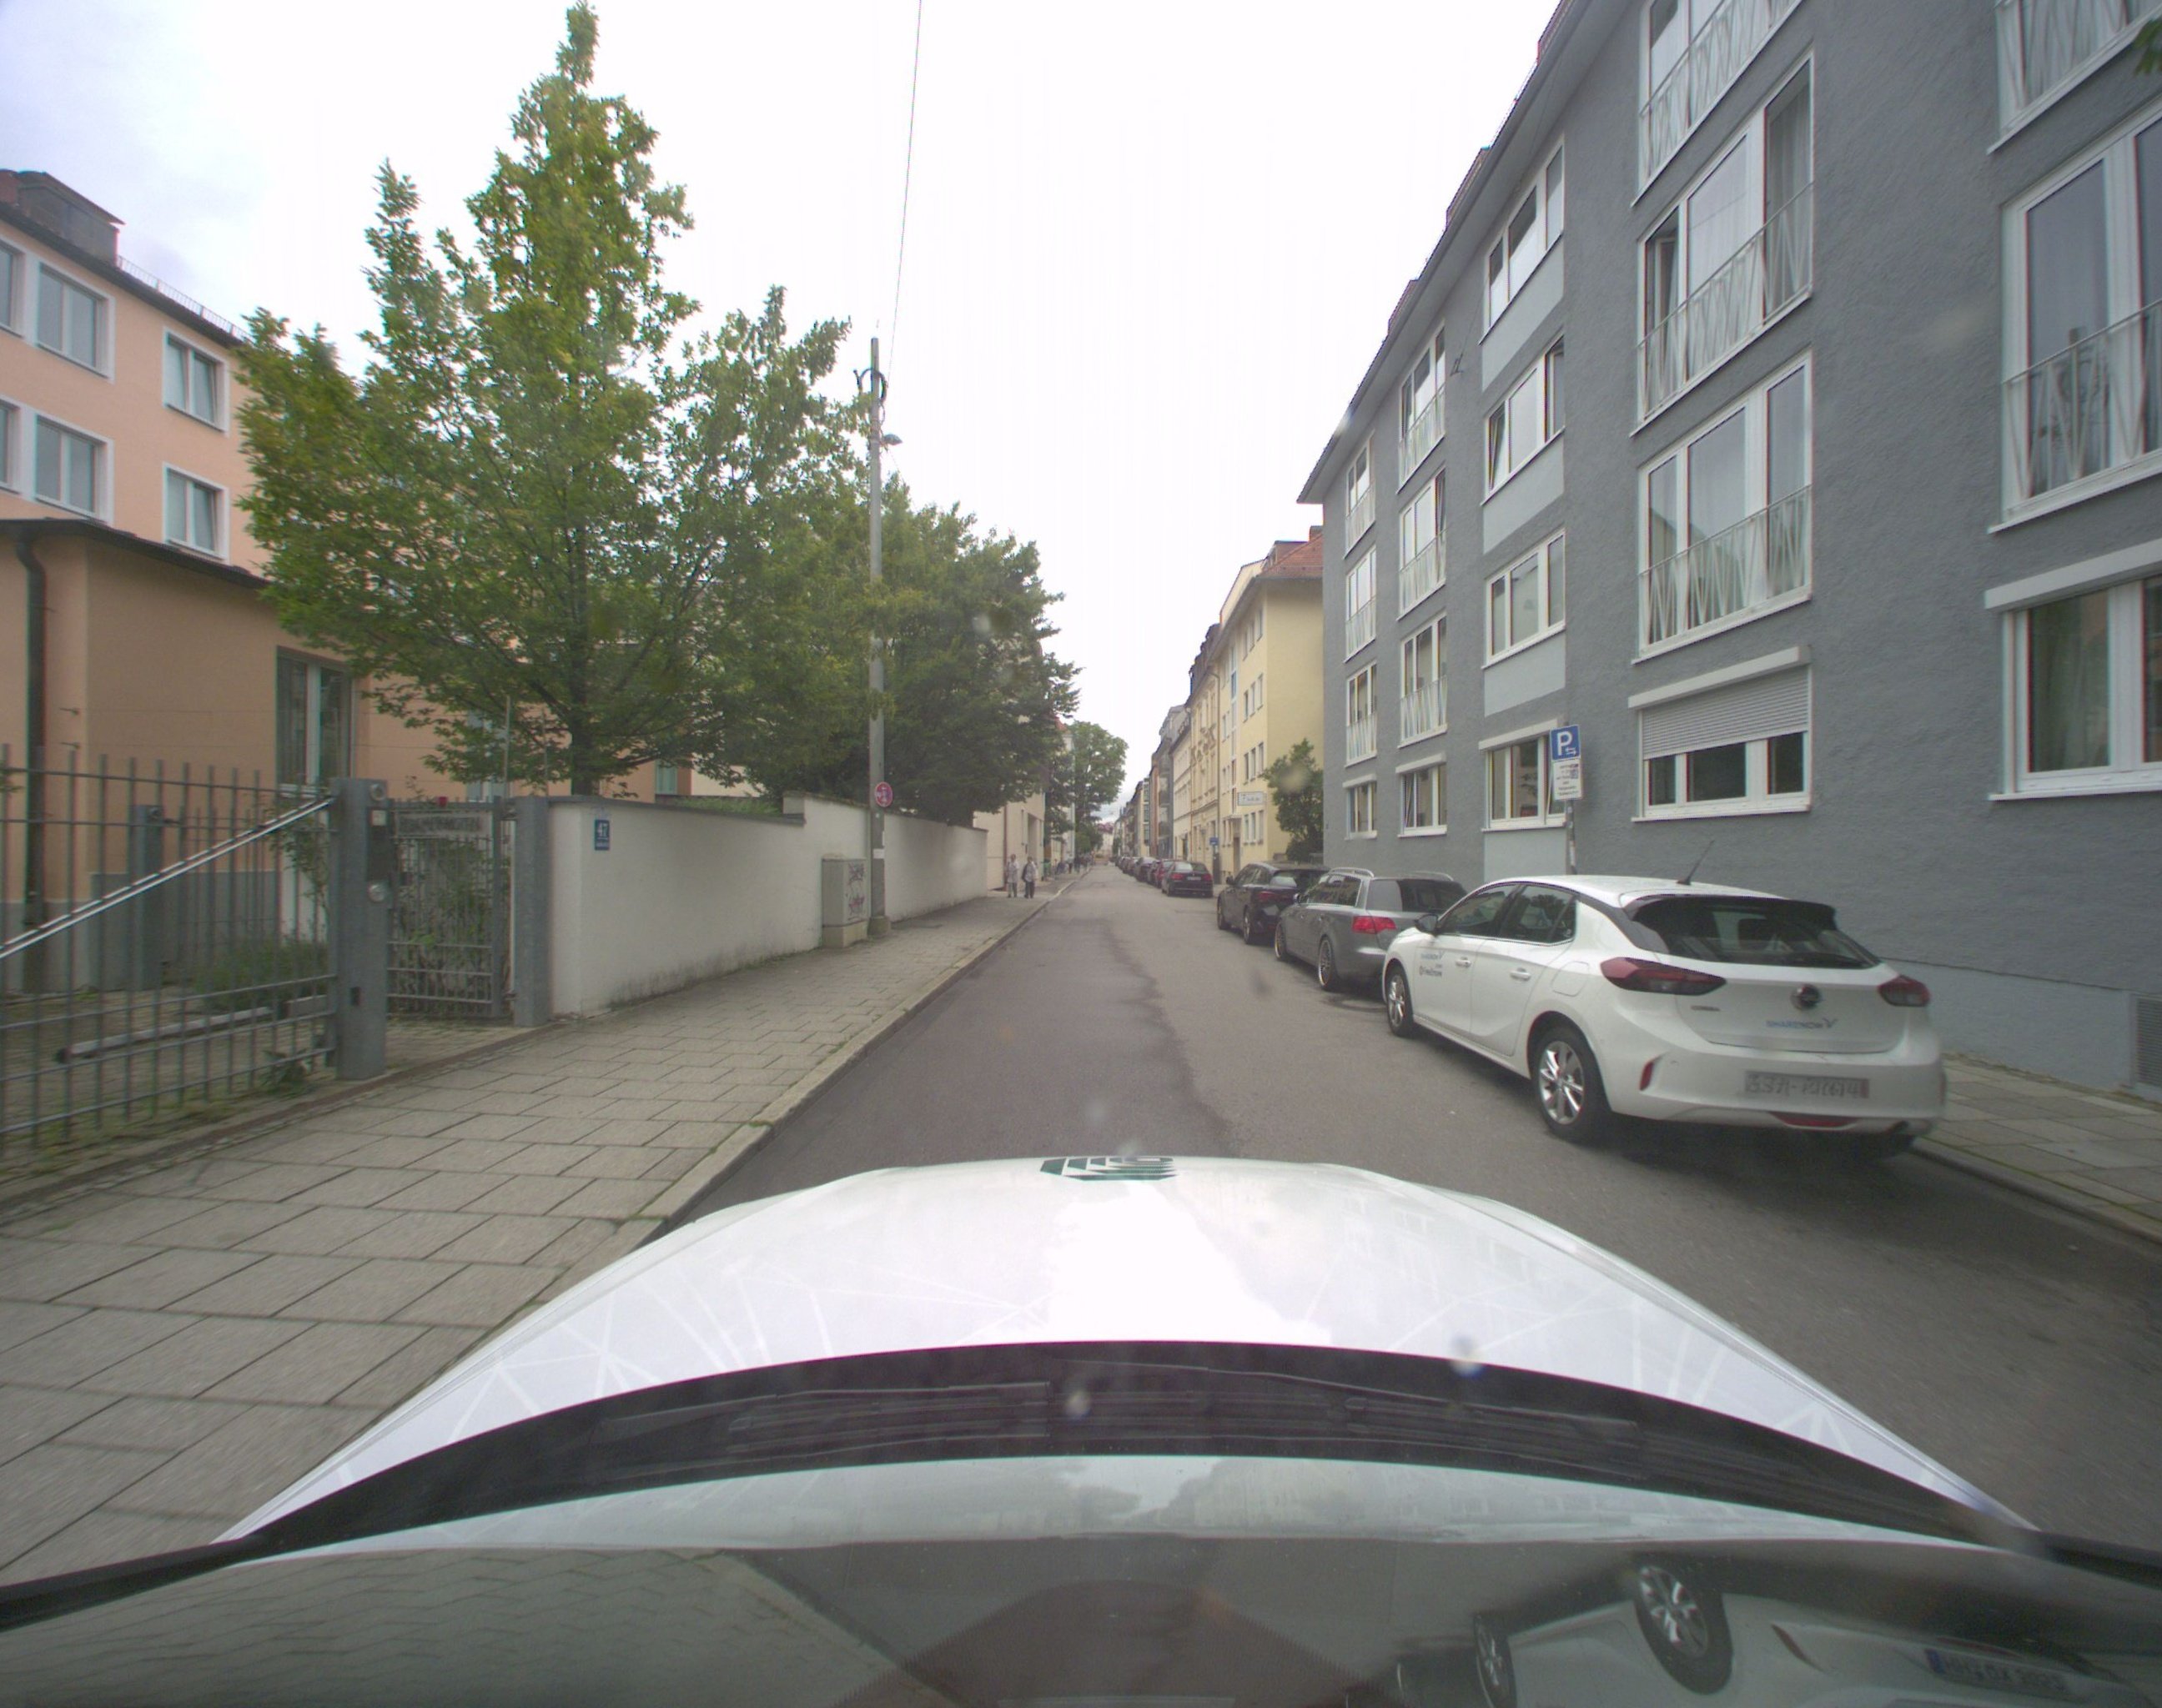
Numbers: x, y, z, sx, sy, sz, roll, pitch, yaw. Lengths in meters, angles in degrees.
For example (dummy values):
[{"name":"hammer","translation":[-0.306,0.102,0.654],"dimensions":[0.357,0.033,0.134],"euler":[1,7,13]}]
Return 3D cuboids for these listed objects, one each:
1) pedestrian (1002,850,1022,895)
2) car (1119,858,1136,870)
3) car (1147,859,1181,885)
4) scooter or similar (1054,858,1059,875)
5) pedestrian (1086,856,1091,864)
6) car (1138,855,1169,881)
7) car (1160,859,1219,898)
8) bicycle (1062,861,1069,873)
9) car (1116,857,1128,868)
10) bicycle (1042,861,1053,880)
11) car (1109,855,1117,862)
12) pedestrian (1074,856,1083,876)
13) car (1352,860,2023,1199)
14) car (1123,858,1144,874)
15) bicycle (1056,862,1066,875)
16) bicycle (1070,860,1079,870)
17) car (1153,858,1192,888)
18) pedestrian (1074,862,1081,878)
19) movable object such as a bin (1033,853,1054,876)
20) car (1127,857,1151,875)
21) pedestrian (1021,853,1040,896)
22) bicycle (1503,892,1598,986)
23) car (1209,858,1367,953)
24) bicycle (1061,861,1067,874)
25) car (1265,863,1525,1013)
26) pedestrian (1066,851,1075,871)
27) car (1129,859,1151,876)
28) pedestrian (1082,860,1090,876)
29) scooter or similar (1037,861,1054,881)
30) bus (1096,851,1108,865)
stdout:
[{"name":"pedestrian","translation":[-2.571,0.681,30.441],"dimensions":[0.611,1.621,0.688],"euler":[3,-1,1]},{"name":"car","translation":[5.876,1.266,103.724],"dimensions":[1.880,1.555,4.390],"euler":[0,0,-1]},{"name":"car","translation":[4.734,1.014,46.983],"dimensions":[1.670,1.393,4.066],"euler":[0,0,1]},{"name":"scooter or similar","translation":[-1.944,0.996,65.686],"dimensions":[0.316,1.376,1.239],"euler":[-1,-1,1]},{"name":"pedestrian","translation":[1.352,1.123,148.005],"dimensions":[0.753,1.491,0.831],"euler":[-1,-1,1]},{"name":"car","translation":[4.727,0.907,53.674],"dimensions":[1.696,1.607,4.686],"euler":[0,0,1]},{"name":"car","translation":[4.296,0.933,32.855],"dimensions":[1.819,1.335,4.509],"euler":[4,0,1]},{"name":"bicycle","translation":[-1.456,1.239,77.271],"dimensions":[0.560,1.159,1.718],"euler":[0,-1,-4]},{"name":"car","translation":[7.069,1.401,140.373],"dimensions":[1.796,1.820,3.999],"euler":[4,0,-1]},{"name":"bicycle","translation":[-2.151,1.063,52.348],"dimensions":[0.542,1.161,1.882],"euler":[2,0,0]},{"name":"car","translation":[8.613,1.149,218.332],"dimensions":[1.795,1.712,3.826],"euler":[4,0,0]},{"name":"pedestrian","translation":[-0.204,1.107,73.616],"dimensions":[0.715,1.765,0.838],"euler":[2,-1,2]},{"name":"car","translation":[3.536,0.828,5.962],"dimensions":[1.762,1.445,4.347],"euler":[4,0,2]},{"name":"car","translation":[5.072,1.155,79.031],"dimensions":[1.833,1.528,4.293],"euler":[0,0,0]},{"name":"bicycle","translation":[-1.665,1.202,67.412],"dimensions":[0.702,0.984,1.821],"euler":[4,-1,-3]},{"name":"bicycle","translation":[-0.851,1.367,100.235],"dimensions":[0.643,1.217,1.655],"euler":[0,-1,-17]},{"name":"car","translation":[4.726,0.939,42.542],"dimensions":[1.670,1.492,3.854],"euler":[0,0,1]},{"name":"pedestrian","translation":[-0.366,1.720,87.082],"dimensions":[0.610,1.713,0.823],"euler":[2,-1,1]},{"name":"movable object such as a bin","translation":[-2.679,0.737,57.631],"dimensions":[1.168,1.442,1.251],"euler":[5,1,7]},{"name":"car","translation":[5.253,1.062,74.141],"dimensions":[1.869,1.570,4.315],"euler":[-1,0,0]},{"name":"pedestrian","translation":[-1.884,0.771,30.346],"dimensions":[0.620,1.579,0.714],"euler":[1,-1,1]},{"name":"bicycle","translation":[6.342,1.107,11.086],"dimensions":[0.376,1.110,1.687],"euler":[0,0,2]},{"name":"car","translation":[3.742,0.862,15.515],"dimensions":[1.835,1.428,4.262],"euler":[4,0,-1]},{"name":"bicycle","translation":[-1.582,1.217,75.557],"dimensions":[0.456,1.159,1.606],"euler":[2,-1,3]},{"name":"car","translation":[3.747,0.887,10.650],"dimensions":[1.782,1.401,4.488],"euler":[4,0,2]},{"name":"pedestrian","translation":[-0.932,0.615,73.547],"dimensions":[0.715,1.796,0.917],"euler":[2,-1,2]},{"name":"car","translation":[4.988,1.156,69.223],"dimensions":[1.801,1.363,3.947],"euler":[-1,0,2]},{"name":"pedestrian","translation":[0.526,1.509,86.790],"dimensions":[0.750,1.659,0.906],"euler":[2,-1,1]},{"name":"scooter or similar","translation":[-2.161,1.049,50.282],"dimensions":[0.547,1.144,1.364],"euler":[2,-1,18]},{"name":"bus","translation":[4.870,1.005,186.135],"dimensions":[2.583,3.102,6.308],"euler":[-1,-1,2]}]
